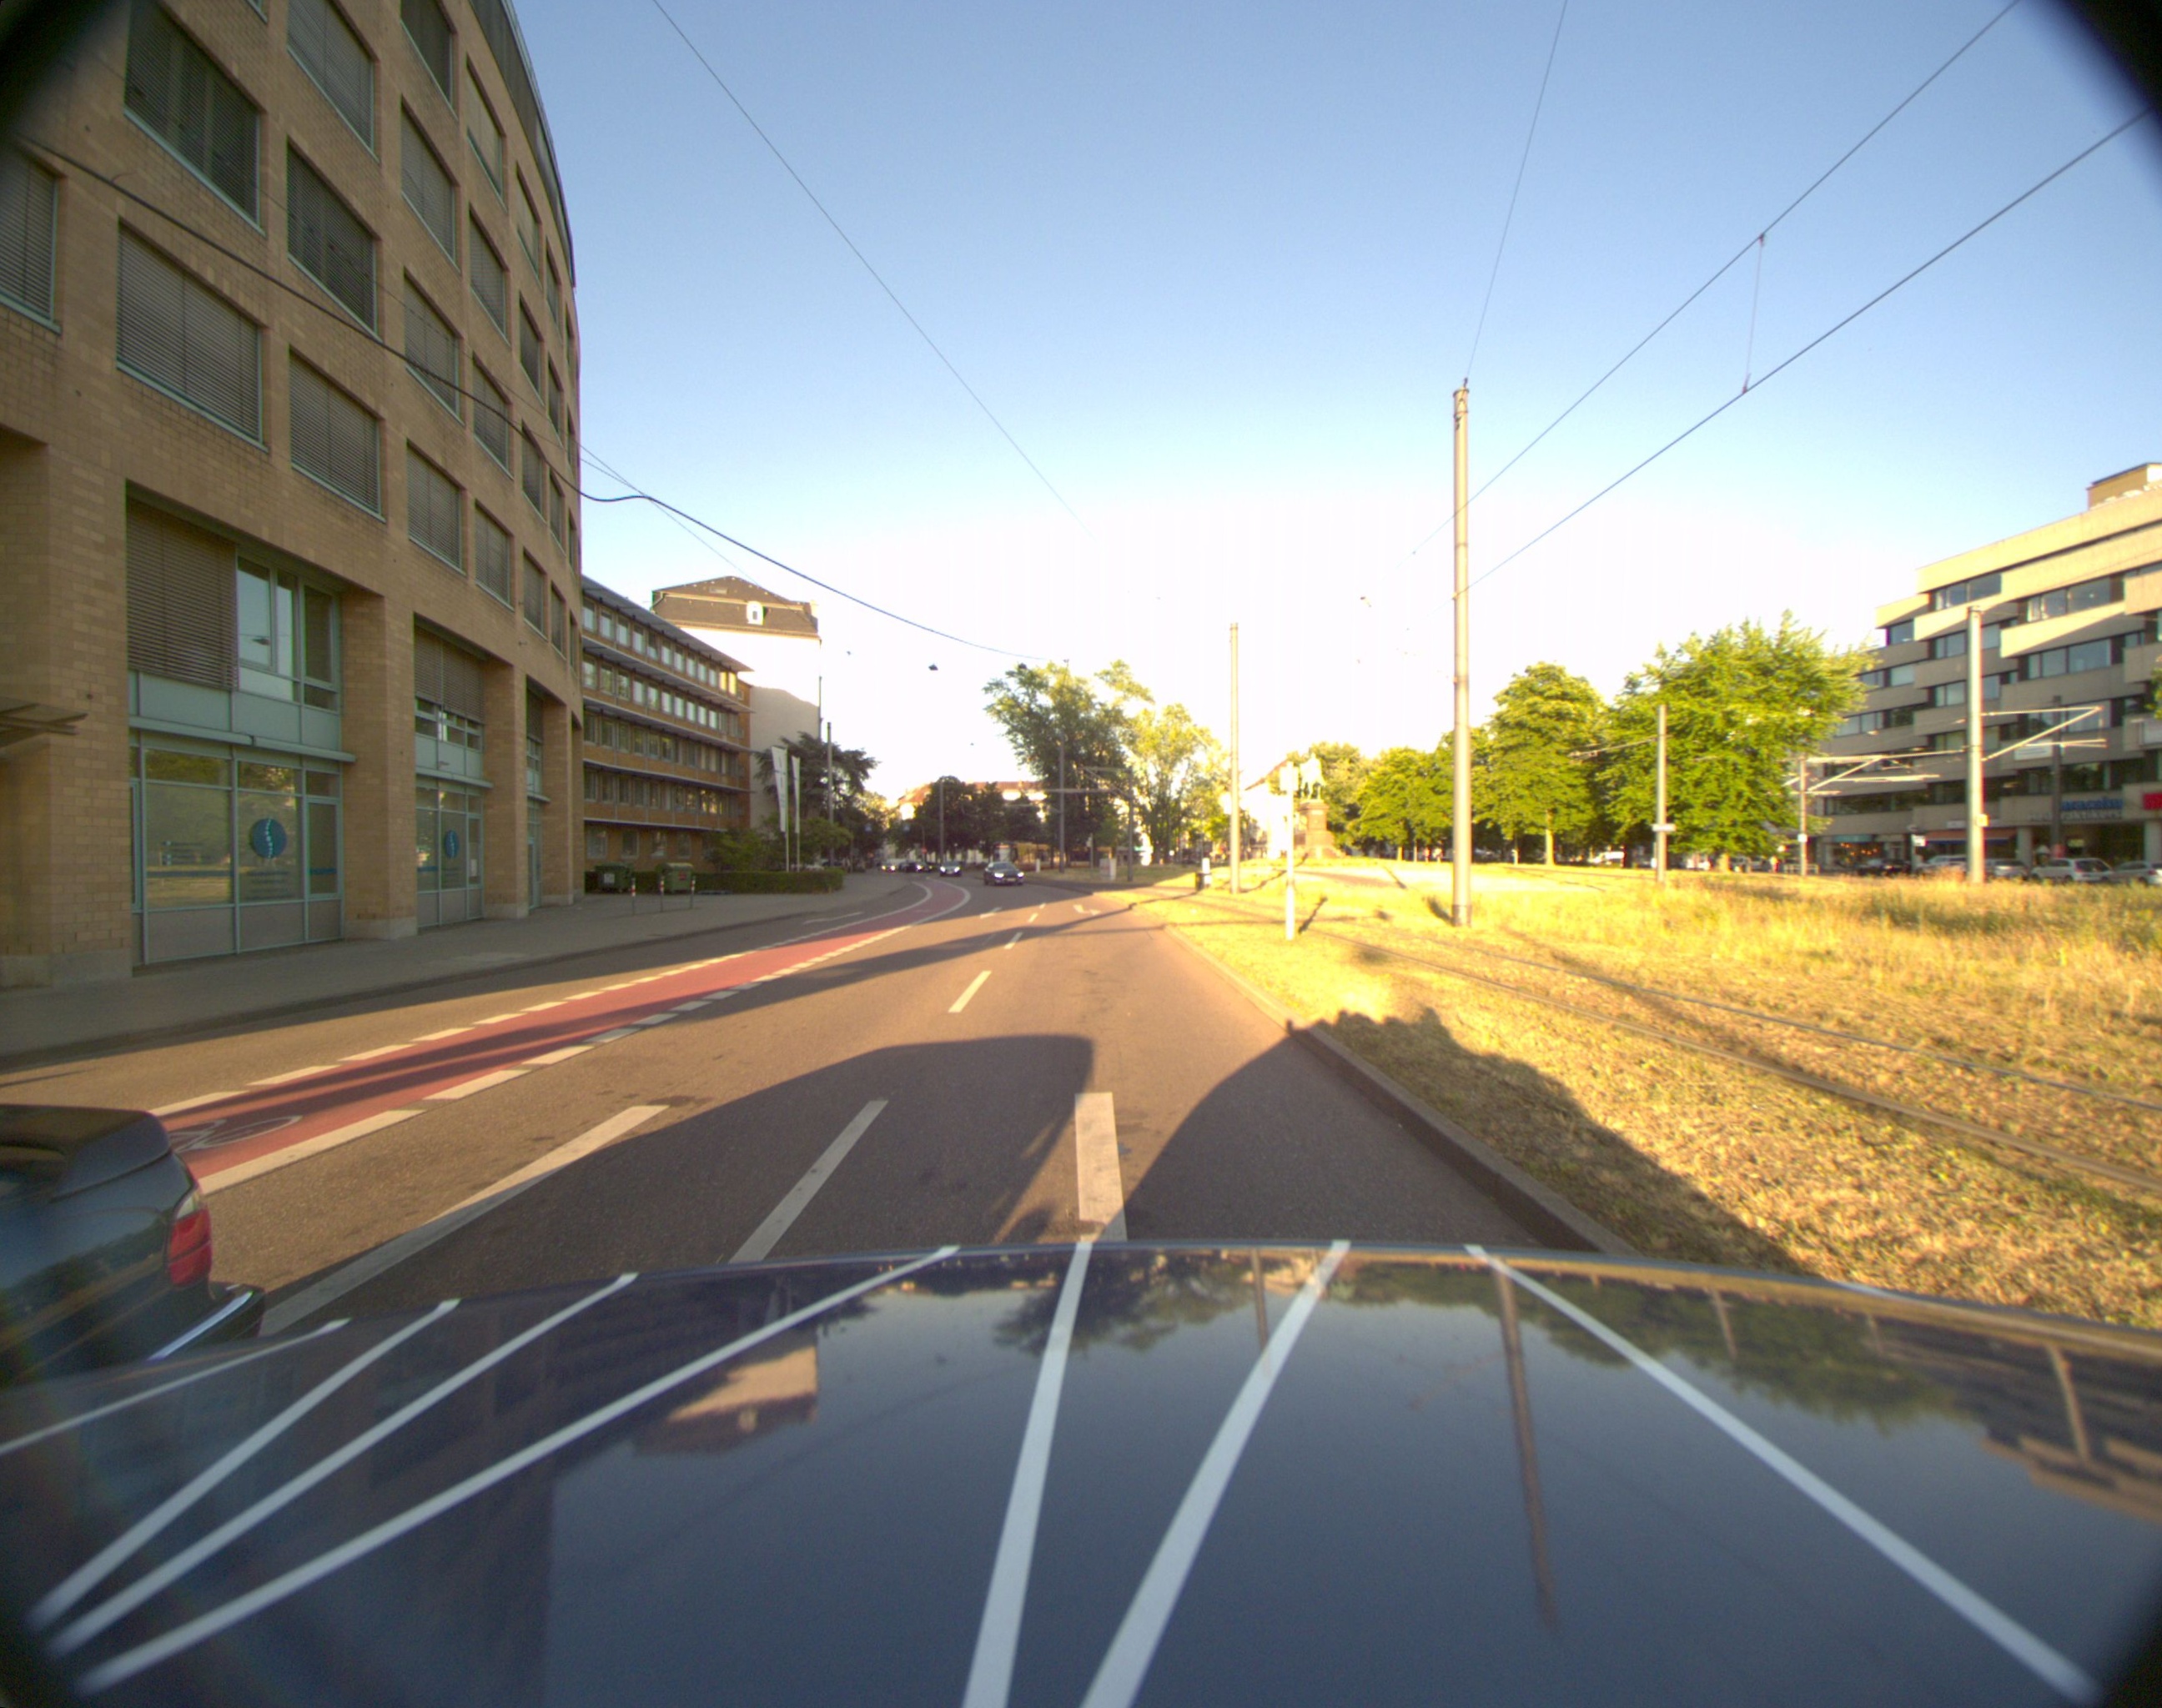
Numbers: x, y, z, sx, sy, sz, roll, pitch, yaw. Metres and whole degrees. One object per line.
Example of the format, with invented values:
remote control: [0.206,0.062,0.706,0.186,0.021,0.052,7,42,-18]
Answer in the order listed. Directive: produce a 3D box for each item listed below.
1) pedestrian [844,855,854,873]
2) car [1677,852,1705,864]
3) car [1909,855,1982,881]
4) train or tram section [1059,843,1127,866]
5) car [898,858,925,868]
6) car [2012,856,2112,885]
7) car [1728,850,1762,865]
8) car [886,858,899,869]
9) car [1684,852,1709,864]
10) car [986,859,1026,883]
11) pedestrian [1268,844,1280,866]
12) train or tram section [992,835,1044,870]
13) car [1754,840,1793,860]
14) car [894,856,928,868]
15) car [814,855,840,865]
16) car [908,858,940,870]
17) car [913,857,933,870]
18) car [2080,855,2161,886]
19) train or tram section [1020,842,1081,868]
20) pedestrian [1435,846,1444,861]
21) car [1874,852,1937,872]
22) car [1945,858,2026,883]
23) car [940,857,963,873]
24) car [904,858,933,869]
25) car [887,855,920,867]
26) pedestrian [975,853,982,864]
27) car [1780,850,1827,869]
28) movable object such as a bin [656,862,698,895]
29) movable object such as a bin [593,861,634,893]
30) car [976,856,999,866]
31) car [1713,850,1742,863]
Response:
pedestrian: [-23.456,1.039,76.886,0.591,1.781,0.822,0,-1,11]
car: [75.625,0.551,94.217,1.707,1.382,4.008,-1,-1,24]
car: [61.506,1.029,54.169,1.755,1.784,4.217,-1,-1,23]
train or tram section: [1.870,-0.022,108.522,2.918,3.123,12.671,0,0,36]
car: [-27.168,1.438,121.689,4.067,1.542,1.999,0,-1,-6]
car: [56.275,0.944,43.688,1.755,1.542,4.007,-1,-1,23]
car: [76.294,0.378,87.304,1.755,1.653,4.007,-1,-1,23]
car: [-26.368,1.359,106.270,1.822,1.473,4.131,-1,-1,-14]
car: [83.990,0.505,103.676,1.793,1.570,4.008,-1,-1,27]
car: [-4.738,1.056,47.587,1.822,1.473,4.130,0,-1,-16]
pedestrian: [14.666,0.089,57.736,0.476,1.680,0.835,0,0,-14]
train or tram section: [-6.882,-0.207,85.978,2.946,3.563,13.374,-1,0,8]
car: [72.841,-0.392,79.974,1.755,1.932,4.217,-1,-1,23]
car: [-28.265,1.319,126.289,5.078,1.891,2.122,0,-1,2]
car: [-45.588,1.090,136.270,4.404,1.603,1.726,0,-1,-23]
car: [-21.418,1.377,103.577,4.067,1.547,1.865,0,-1,-6]
car: [-18.304,1.159,87.890,1.823,1.473,4.129,0,-1,-19]
car: [54.154,0.853,39.054,1.755,1.542,4.008,-1,-1,26]
train or tram section: [-3.713,0.016,98.334,2.925,3.123,12.876,-1,0,22]
pedestrian: [37.992,-0.029,80.552,0.619,1.571,0.553,0,-1,2]
car: [64.373,0.651,59.407,1.861,1.547,4.076,-1,-1,23]
car: [58.537,1.055,49.271,1.755,1.542,4.007,-1,-1,23]
car: [-12.528,1.057,73.545,1.822,1.473,4.131,0,-1,-15]
car: [-24.373,1.398,114.313,4.067,1.608,1.999,0,-1,-6]
car: [-30.036,1.120,128.848,5.078,2.010,1.968,0,-1,2]
pedestrian: [-18.201,0.832,134.975,0.827,2.001,1.011,-1,-1,30]
car: [70.249,0.565,73.934,1.935,1.784,4.217,-1,-1,23]
movable object such as a bin: [-18.229,1.103,34.285,0.972,1.429,1.347,0,-1,19]
movable object such as a bin: [-21.264,1.027,34.573,1.345,1.415,0.923,0,-1,-7]
car: [-17.125,1.322,139.152,4.011,1.714,1.701,0,-1,-1]
car: [78.527,0.334,92.325,1.793,1.570,4.008,-1,-1,27]
